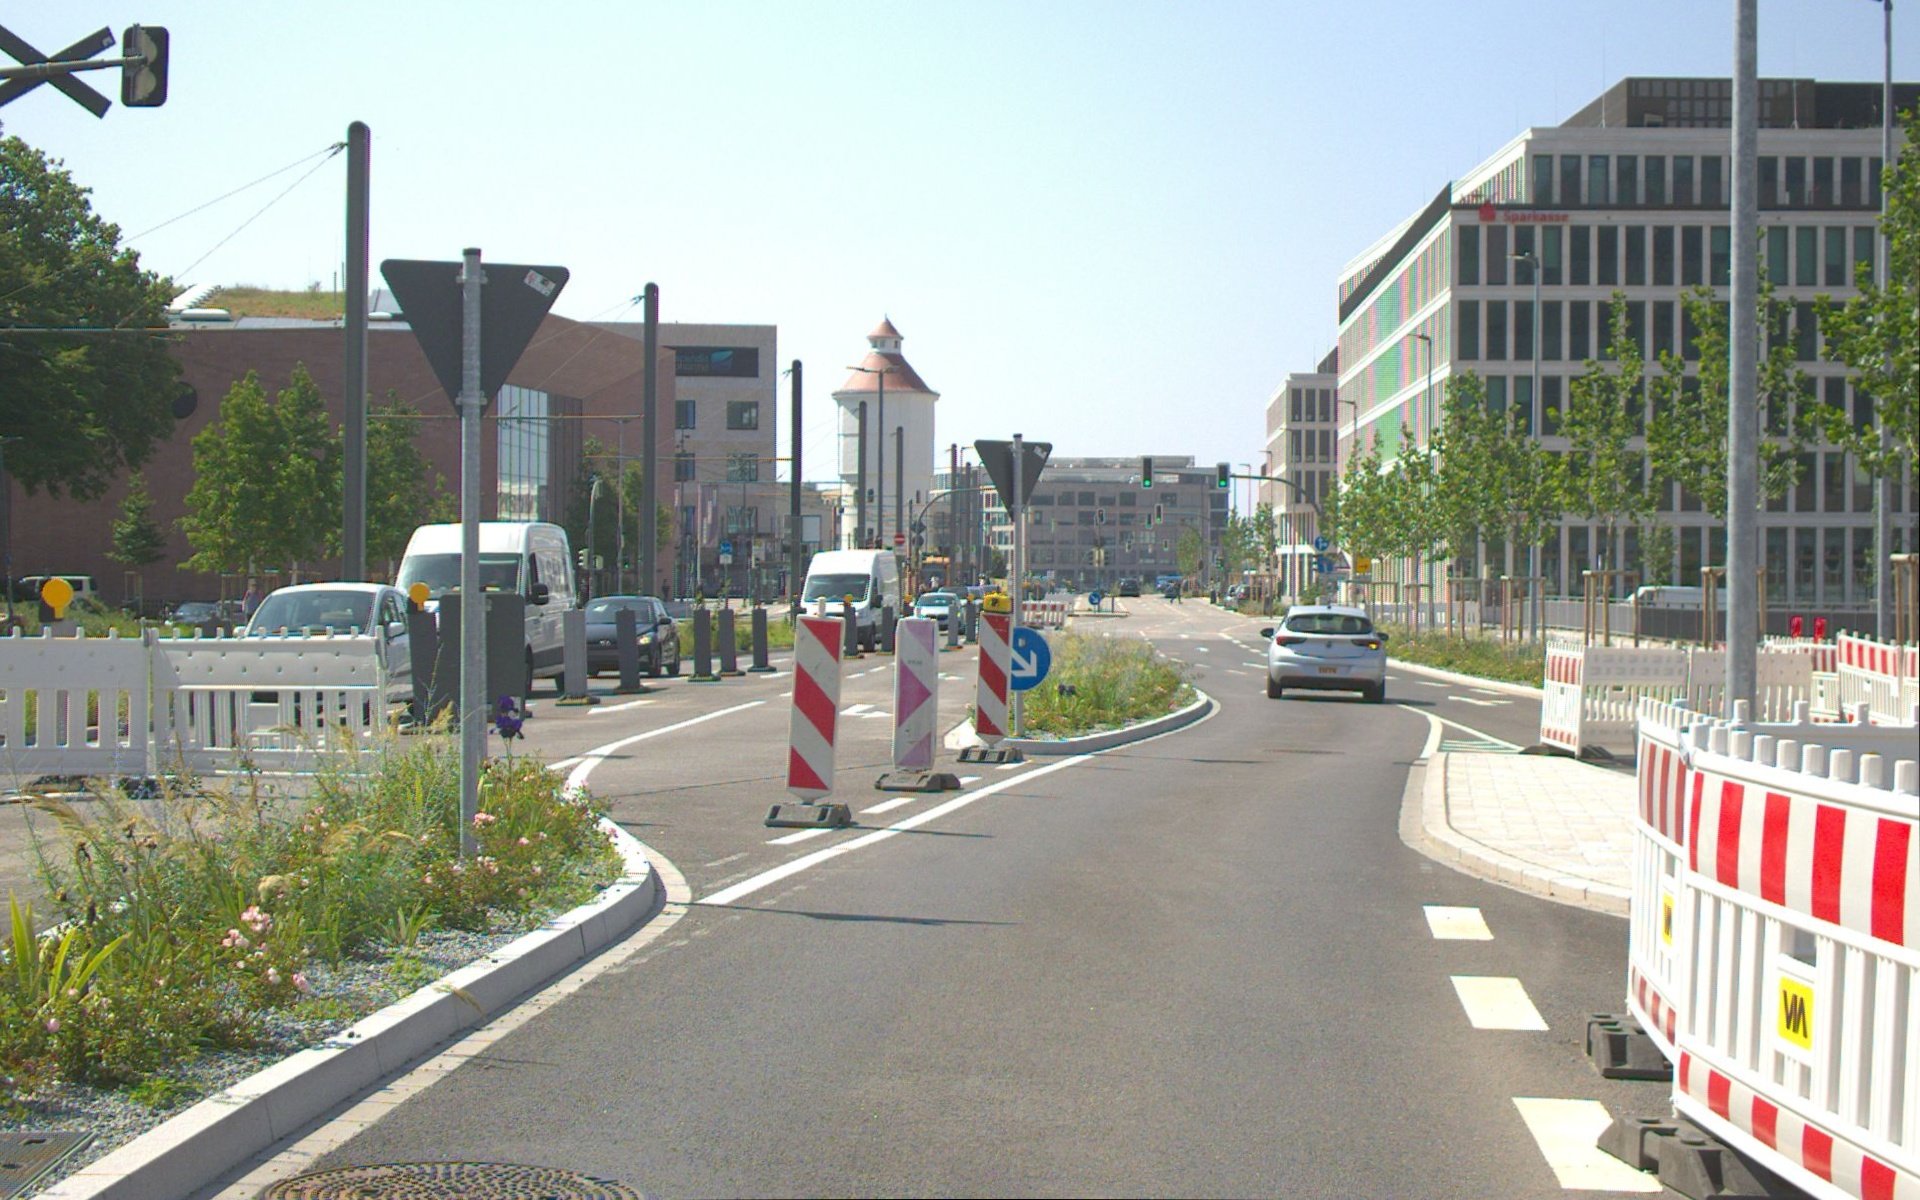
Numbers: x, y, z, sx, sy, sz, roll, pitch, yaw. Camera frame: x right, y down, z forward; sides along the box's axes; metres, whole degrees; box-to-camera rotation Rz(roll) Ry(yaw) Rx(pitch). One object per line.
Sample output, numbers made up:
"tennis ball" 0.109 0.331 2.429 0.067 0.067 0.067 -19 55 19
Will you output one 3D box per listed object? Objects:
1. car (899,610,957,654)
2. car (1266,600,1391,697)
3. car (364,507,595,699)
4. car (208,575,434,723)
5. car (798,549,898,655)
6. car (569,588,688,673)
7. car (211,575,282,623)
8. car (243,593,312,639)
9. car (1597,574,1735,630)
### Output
"car" -1.097 1.107 119.756 1.674 1.438 4.468 -1 0 4
"car" 5.685 0.750 53.343 1.772 1.390 3.531 2 -1 4
"car" -6.890 0.042 50.061 2.031 2.570 6.193 -2 0 4
"car" -7.132 0.522 38.734 1.580 1.536 3.977 -2 0 3
"car" -2.970 0.039 92.652 2.077 2.731 5.985 -1 0 4
"car" -6.023 0.531 62.842 1.545 1.452 4.192 -2 0 3
"car" -27.353 -0.030 131.850 1.698 1.755 3.939 1 0 3
"car" -27.379 0.645 137.935 1.698 1.755 4.300 1 0 3
"car" 32.440 0.087 158.098 5.837 2.262 2.146 3 1 3
